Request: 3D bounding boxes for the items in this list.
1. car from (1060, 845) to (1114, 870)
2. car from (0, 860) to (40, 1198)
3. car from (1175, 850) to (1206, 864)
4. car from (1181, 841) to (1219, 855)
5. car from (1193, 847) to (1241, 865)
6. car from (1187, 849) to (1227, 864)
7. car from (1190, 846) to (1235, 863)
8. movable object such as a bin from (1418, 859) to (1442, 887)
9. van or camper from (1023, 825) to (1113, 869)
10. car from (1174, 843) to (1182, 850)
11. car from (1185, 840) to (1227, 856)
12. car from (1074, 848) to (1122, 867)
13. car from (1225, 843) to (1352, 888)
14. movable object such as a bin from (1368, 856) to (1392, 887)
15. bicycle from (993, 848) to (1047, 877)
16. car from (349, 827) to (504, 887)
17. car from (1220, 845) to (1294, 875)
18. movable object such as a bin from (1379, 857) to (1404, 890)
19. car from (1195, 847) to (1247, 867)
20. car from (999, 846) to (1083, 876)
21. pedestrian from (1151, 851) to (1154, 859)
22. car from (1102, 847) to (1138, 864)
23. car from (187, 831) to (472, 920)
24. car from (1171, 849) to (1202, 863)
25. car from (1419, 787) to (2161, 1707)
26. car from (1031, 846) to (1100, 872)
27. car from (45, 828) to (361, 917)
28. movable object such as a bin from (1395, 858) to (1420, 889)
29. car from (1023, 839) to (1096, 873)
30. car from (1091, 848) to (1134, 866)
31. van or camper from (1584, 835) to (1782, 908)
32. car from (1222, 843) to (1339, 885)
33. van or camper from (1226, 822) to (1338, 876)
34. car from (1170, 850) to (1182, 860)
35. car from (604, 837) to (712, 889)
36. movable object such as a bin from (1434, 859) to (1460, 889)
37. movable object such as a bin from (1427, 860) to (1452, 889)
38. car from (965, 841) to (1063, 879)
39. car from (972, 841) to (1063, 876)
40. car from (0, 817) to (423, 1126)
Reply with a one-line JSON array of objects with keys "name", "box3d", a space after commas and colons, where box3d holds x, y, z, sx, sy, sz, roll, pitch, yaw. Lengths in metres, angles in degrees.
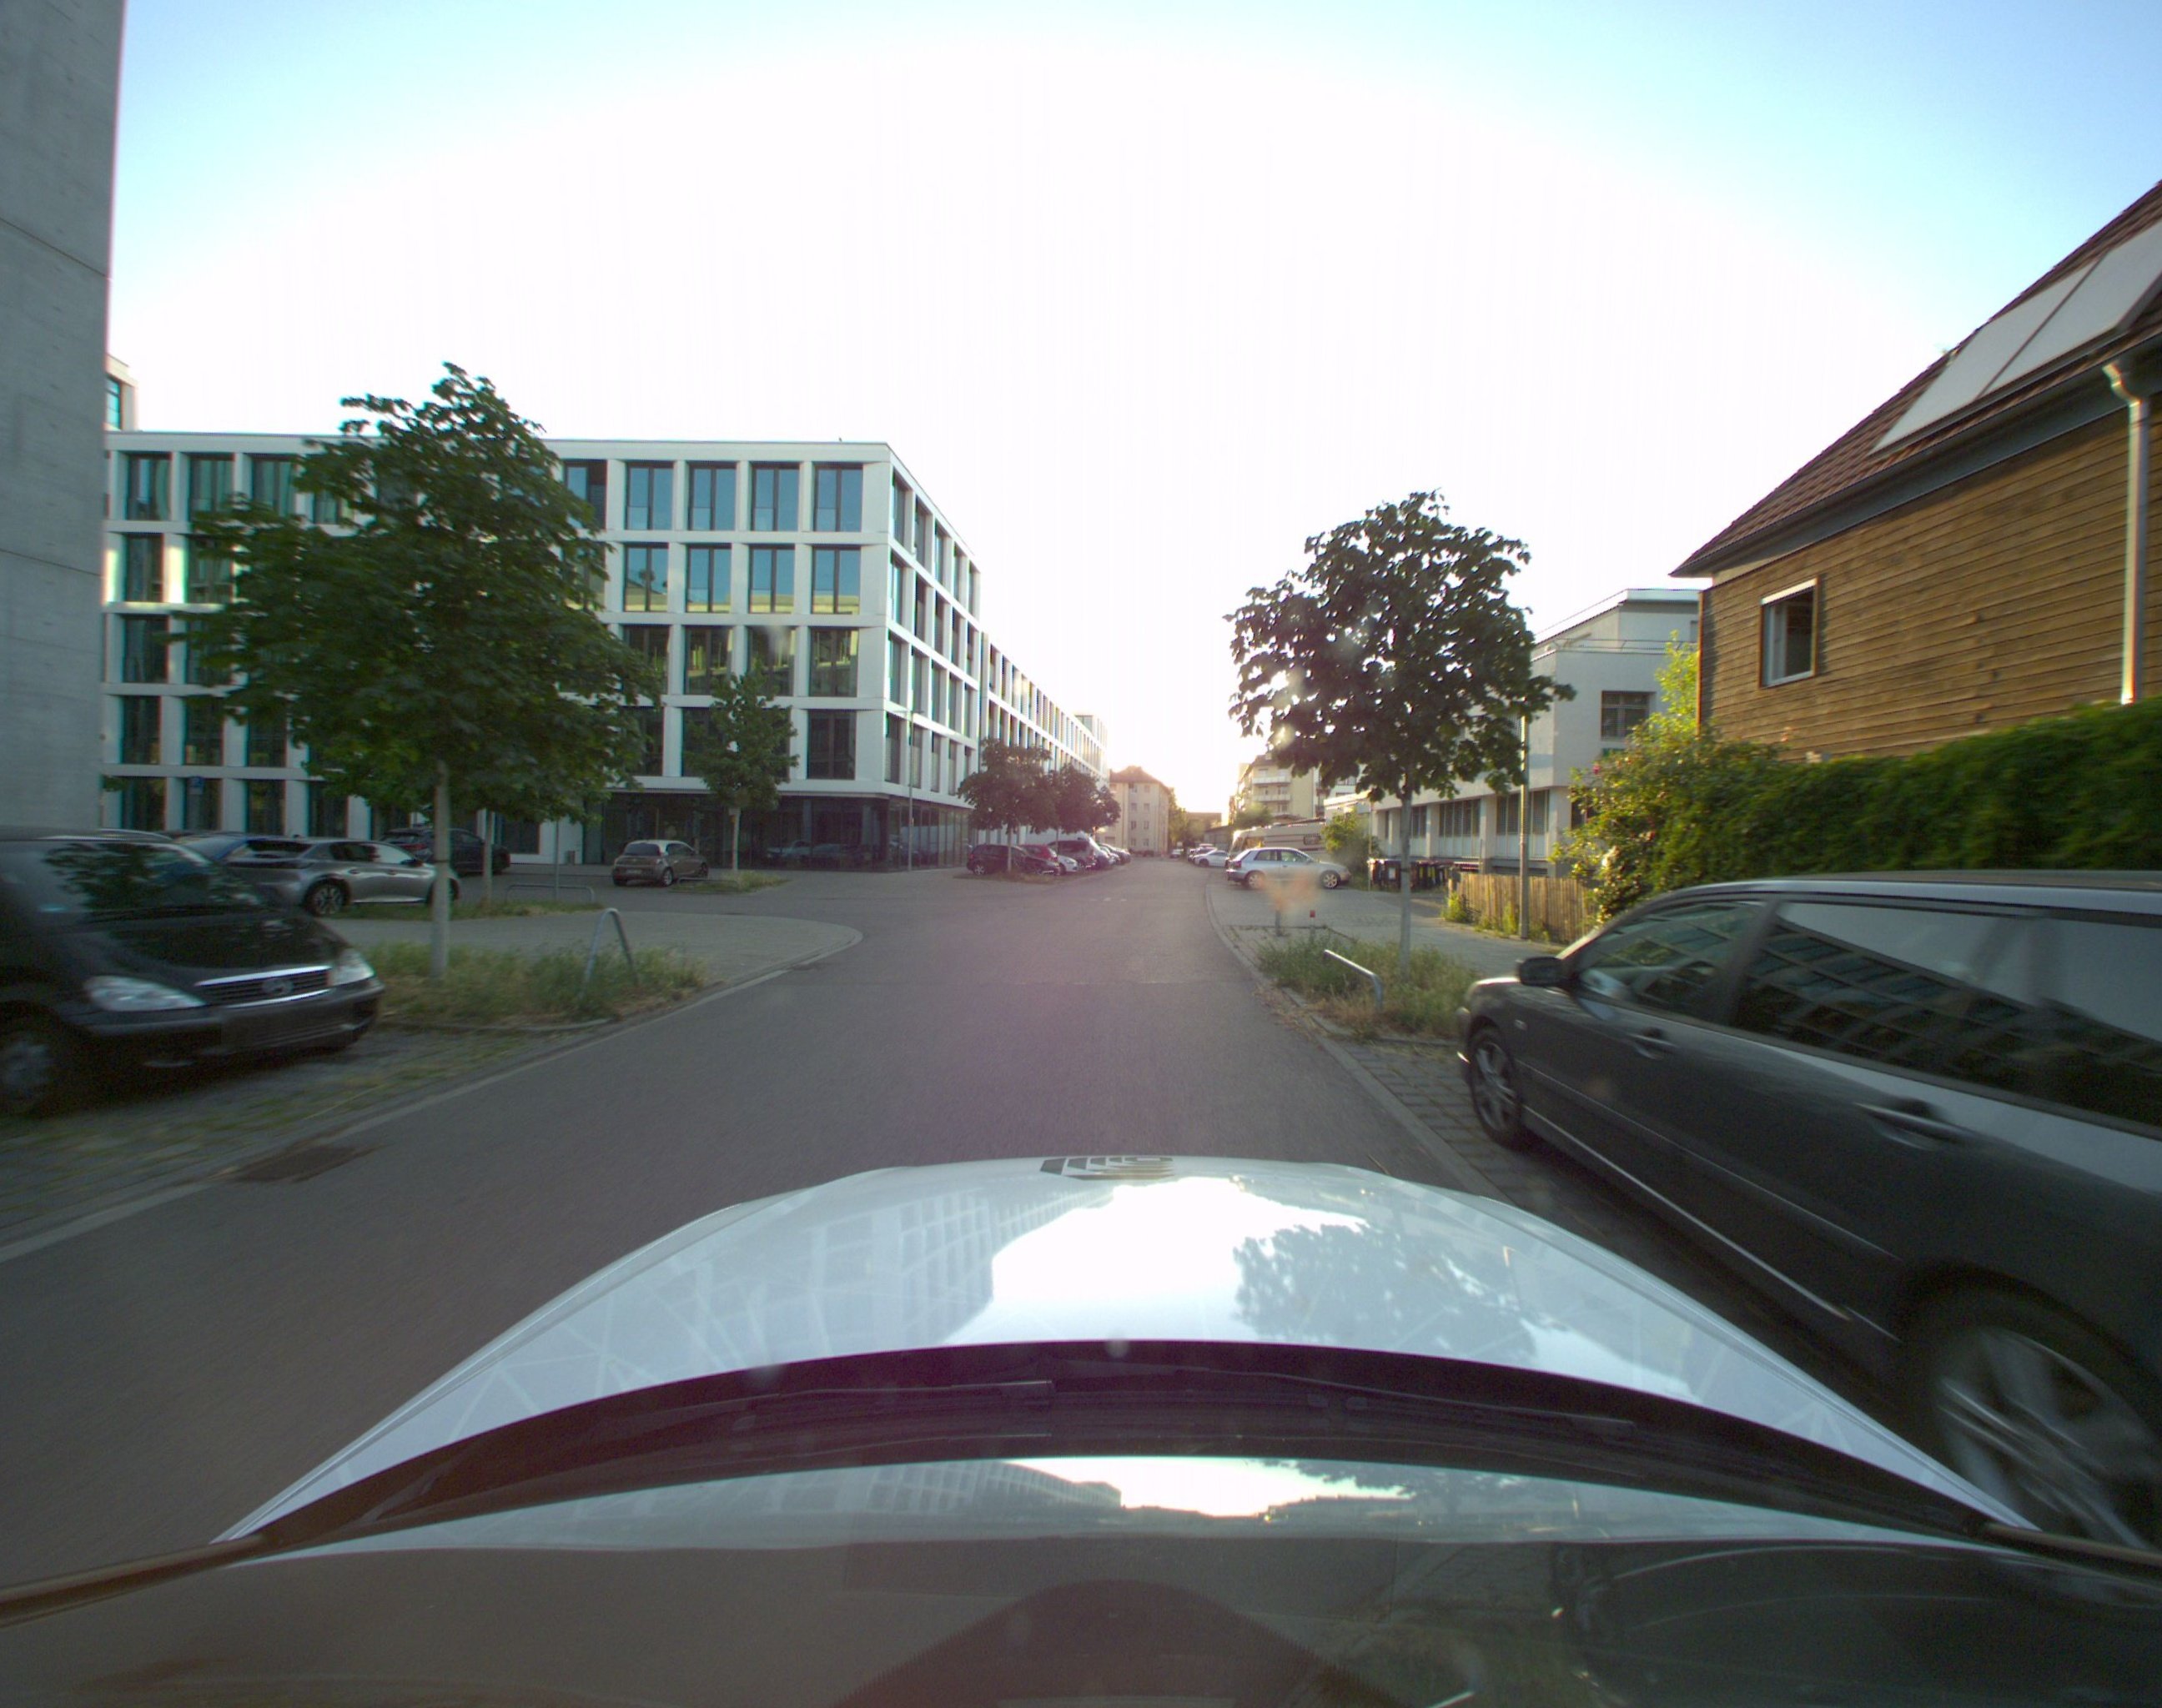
[{"name": "car", "box3d": [0.448, 0.226, 56.628, 3.539, 1.652, 1.461, 0, 1, 8]}, {"name": "car", "box3d": [-6.705, 0.685, 2.890, 3.872, 1.488, 1.652, 3, 0, 1]}, {"name": "car", "box3d": [13.729, 0.339, 102.113, 3.771, 1.644, 1.698, -1, 1, 3]}, {"name": "car", "box3d": [13.998, -0.703, 95.744, 4.324, 1.644, 1.817, -1, 1, 3]}, {"name": "car", "box3d": [12.069, 0.168, 72.394, 4.033, 1.479, 1.769, -1, 1, 3]}, {"name": "car", "box3d": [13.096, 0.282, 84.776, 4.033, 1.479, 1.769, -1, 1, 3]}, {"name": "car", "box3d": [12.489, 0.035, 77.425, 4.033, 1.479, 1.769, -1, 1, 3]}, {"name": "movable object such as a bin", "box3d": [12.427, 0.679, 29.038, 0.576, 0.958, 0.689, 1, 1, 3]}, {"name": "van or camper", "box3d": [-0.790, -0.467, 51.759, 5.422, 2.483, 1.779, 3, 1, 8]}, {"name": "car", "box3d": [21.409, -1.591, 179.359, 1.733, 1.525, 3.558, 1, 0, 6]}, {"name": "car", "box3d": [13.586, -0.620, 88.468, 4.324, 1.644, 1.817, -1, 1, 3]}, {"name": "car", "box3d": [1.363, 0.271, 63.788, 3.539, 1.479, 1.461, 0, 1, 8]}, {"name": "car", "box3d": [7.153, 0.385, 28.311, 4.033, 1.479, 1.769, 0, 1, 3]}, {"name": "movable object such as a bin", "box3d": [9.974, 0.576, 27.191, 0.576, 1.010, 0.689, 1, 1, 3]}, {"name": "bicycle", "box3d": [-2.573, 0.332, 34.469, 2.167, 1.174, 0.813, 1, 0, 7]}, {"name": "car", "box3d": [-21.290, 0.014, 26.725, 1.716, 1.715, 4.060, 1, 3, 1]}, {"name": "car", "box3d": [10.306, 0.331, 47.800, 3.975, 1.687, 1.763, 1, 0, -1]}, {"name": "movable object such as a bin", "box3d": [10.094, 0.630, 26.503, 0.576, 1.010, 0.689, 1, 1, 3]}, {"name": "car", "box3d": [11.018, 0.261, 64.332, 4.027, 1.479, 1.772, 0, 1, 7]}, {"name": "car", "box3d": [-2.040, 0.355, 41.886, 4.027, 1.479, 1.772, 0, 1, 8]}, {"name": "pedestrian", "box3d": [11.794, 0.157, 133.853, 0.499, 1.379, 0.455, 1, 0, 5]}, {"name": "car", "box3d": [3.459, 0.128, 72.190, 2.998, 1.421, 1.461, 0, 1, 8]}, {"name": "car", "box3d": [-14.229, 0.400, 15.799, 1.774, 1.486, 3.933, 1, -1, 1]}, {"name": "car", "box3d": [13.976, 0.260, 107.979, 3.889, 1.644, 1.712, -1, 1, 3]}, {"name": "car", "box3d": [2.790, 0.680, 2.821, 1.716, 1.580, 4.605, 1, 0, 5]}, {"name": "car", "box3d": [-0.908, 0.292, 49.181, 4.031, 1.524, 1.738, -1, 1, 4]}, {"name": "car", "box3d": [-16.711, 0.341, 15.854, 1.774, 1.486, 3.933, 1, -1, 1]}, {"name": "movable object such as a bin", "box3d": [10.775, 0.634, 26.890, 0.576, 0.958, 0.689, 1, 1, 3]}, {"name": "car", "box3d": [-1.210, 0.099, 46.740, 4.031, 1.908, 1.738, -1, 1, 4]}, {"name": "car", "box3d": [2.684, 0.219, 69.811, 3.539, 1.479, 1.461, 0, 1, 8]}, {"name": "van or camper", "box3d": [14.370, 0.390, 19.575, 3.491, 1.634, 1.781, 1, 1, -3]}, {"name": "car", "box3d": [7.483, 0.374, 30.805, 4.033, 1.479, 1.769, -1, 1, 3]}, {"name": "van or camper", "box3d": [10.821, -0.305, 44.283, 5.585, 2.789, 2.432, -1, 1, 3]}, {"name": "car", "box3d": [15.842, 0.117, 135.459, 1.940, 1.585, 3.647, 1, 0, 6]}, {"name": "car", "box3d": [-14.070, 0.257, 27.337, 1.716, 1.485, 3.552, 1, 3, 1]}, {"name": "movable object such as a bin", "box3d": [12.363, 0.664, 27.504, 0.576, 0.958, 0.689, 1, 1, 3]}, {"name": "movable object such as a bin", "box3d": [12.398, 0.698, 28.210, 0.576, 0.958, 0.689, 1, 1, 3]}, {"name": "car", "box3d": [-2.964, 0.249, 36.563, 4.031, 1.478, 1.770, 3, 2, 5]}, {"name": "car", "box3d": [-3.056, 0.217, 39.395, 4.027, 1.479, 1.772, 3, 0, 8]}, {"name": "car", "box3d": [-6.856, 0.595, 5.441, 3.617, 1.577, 1.664, 3, 0, 6]}]
